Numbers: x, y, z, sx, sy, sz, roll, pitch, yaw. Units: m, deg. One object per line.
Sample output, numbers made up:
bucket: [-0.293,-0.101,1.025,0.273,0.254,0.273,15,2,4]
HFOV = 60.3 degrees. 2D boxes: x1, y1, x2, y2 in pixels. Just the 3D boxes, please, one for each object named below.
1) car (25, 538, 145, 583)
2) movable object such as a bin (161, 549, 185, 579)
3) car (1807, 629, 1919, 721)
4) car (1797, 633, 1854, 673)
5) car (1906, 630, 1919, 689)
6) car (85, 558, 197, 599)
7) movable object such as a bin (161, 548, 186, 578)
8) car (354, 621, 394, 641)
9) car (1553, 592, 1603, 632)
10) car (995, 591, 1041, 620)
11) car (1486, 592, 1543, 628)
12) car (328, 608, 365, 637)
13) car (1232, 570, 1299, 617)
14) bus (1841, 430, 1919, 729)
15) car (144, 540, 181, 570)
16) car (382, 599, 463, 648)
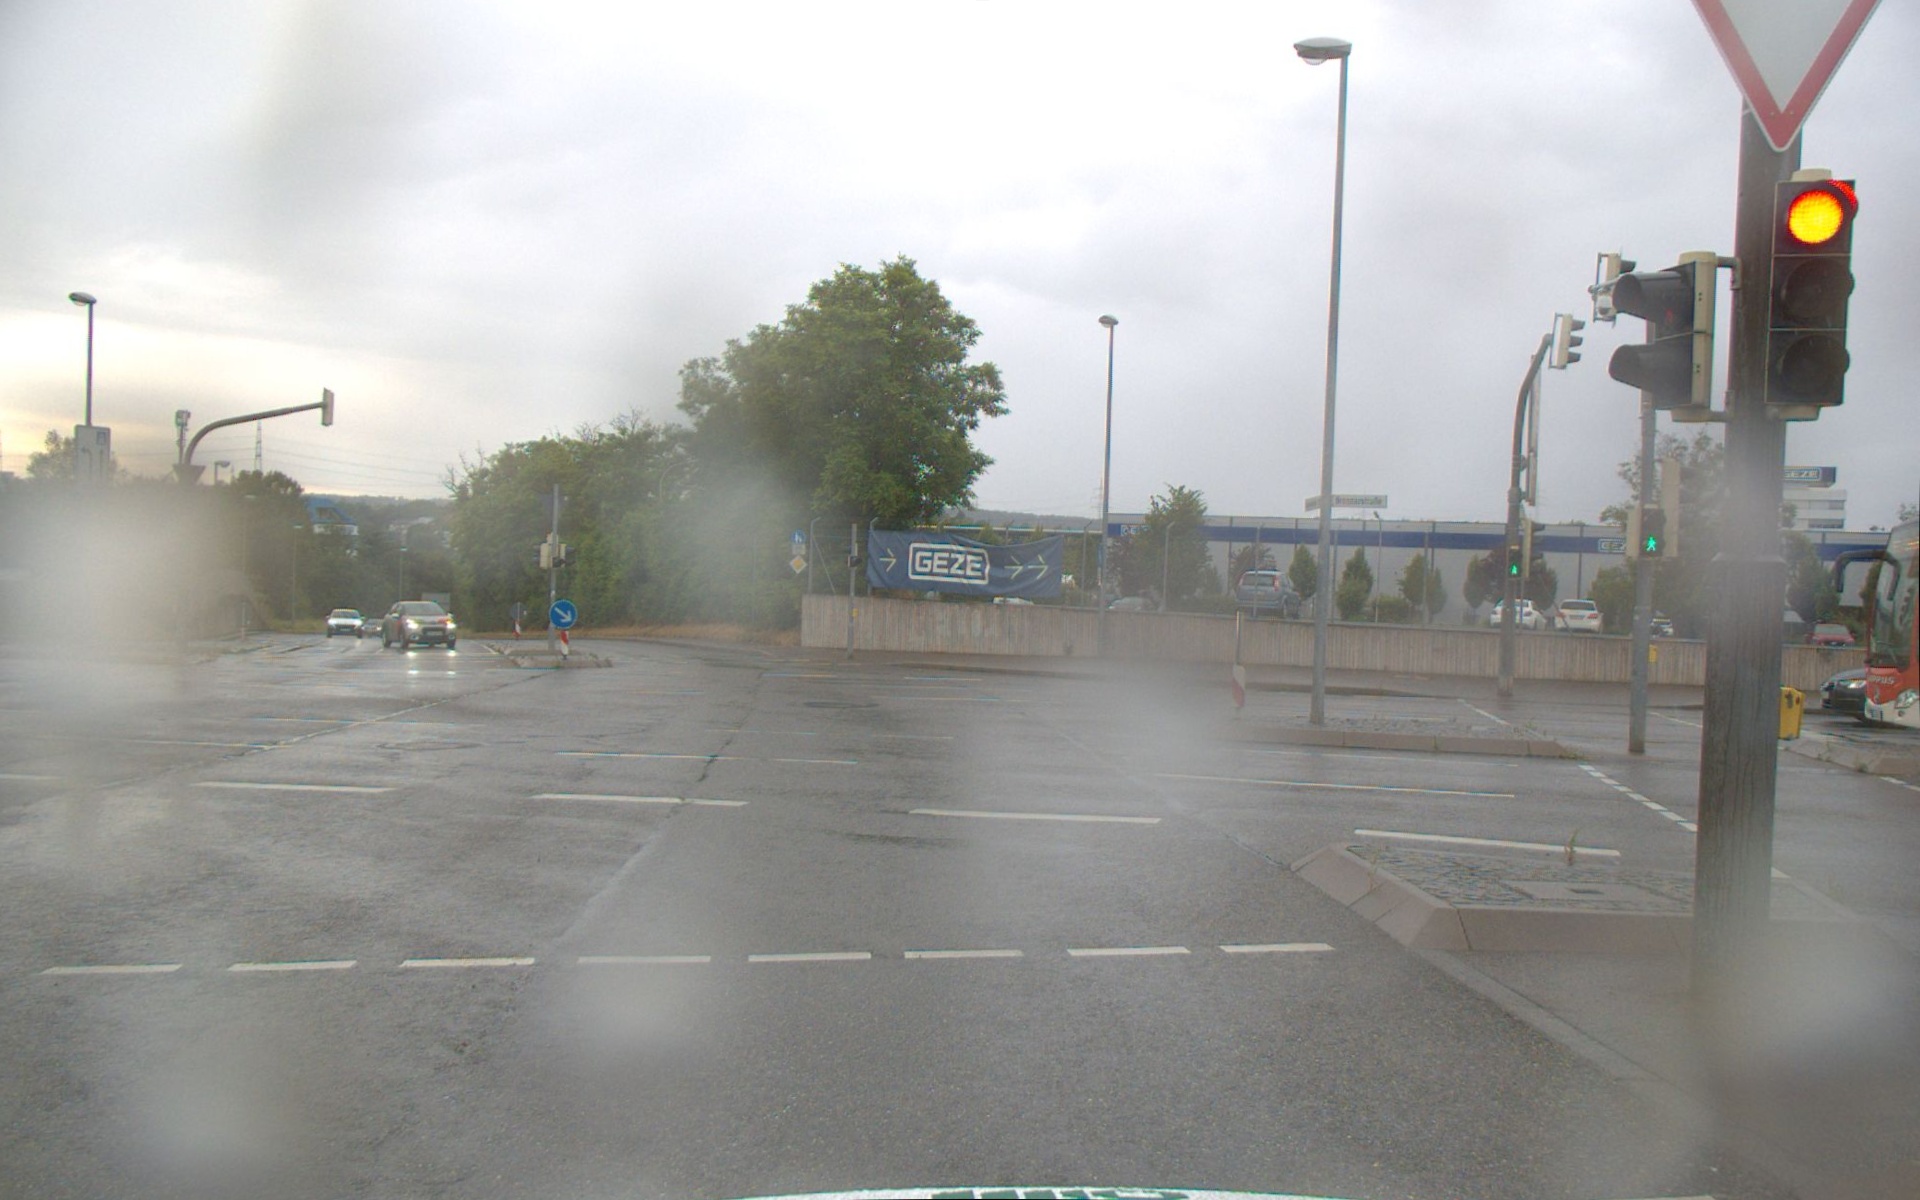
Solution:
car: [-35.842,-1.616,67.814,3.902,1.614,1.903,1,-2,8]
movable object such as a bin: [-41.615,-1.908,87.475,1.071,1.462,1.434,3,-2,-27]
car: [16.236,1.236,26.675,4.286,1.378,1.827,2,0,16]
car: [38.638,2.348,73.877,1.883,1.616,3.788,2,0,22]
car: [34.903,2.120,58.677,1.707,2.049,3.824,1,0,20]
car: [-35.123,-0.913,70.945,3.902,1.614,1.903,1,-2,12]
movable object such as a bin: [-40.964,-1.902,86.129,1.071,1.462,1.434,3,-2,-27]
car: [-48.315,2.566,136.468,1.859,1.481,4.000,1,0,0]
car: [25.458,0.505,68.096,1.820,1.552,4.103,1,0,22]
car: [3.357,0.306,95.938,1.632,1.634,3.531,1,0,20]
car: [23.042,0.420,68.690,1.781,1.459,4.100,1,0,25]
car: [-33.337,1.234,89.940,1.693,1.521,3.979,1,-1,-18]
car: [10.657,-0.213,57.592,1.707,1.580,3.531,1,0,20]
bus: [17.688,0.065,19.911,11.995,3.638,2.988,3,0,17]
car: [-45.989,-2.575,95.371,1.806,1.467,3.964,3,-2,-27]
car: [-17.567,0.755,53.939,1.644,1.521,3.957,1,-1,-31]
